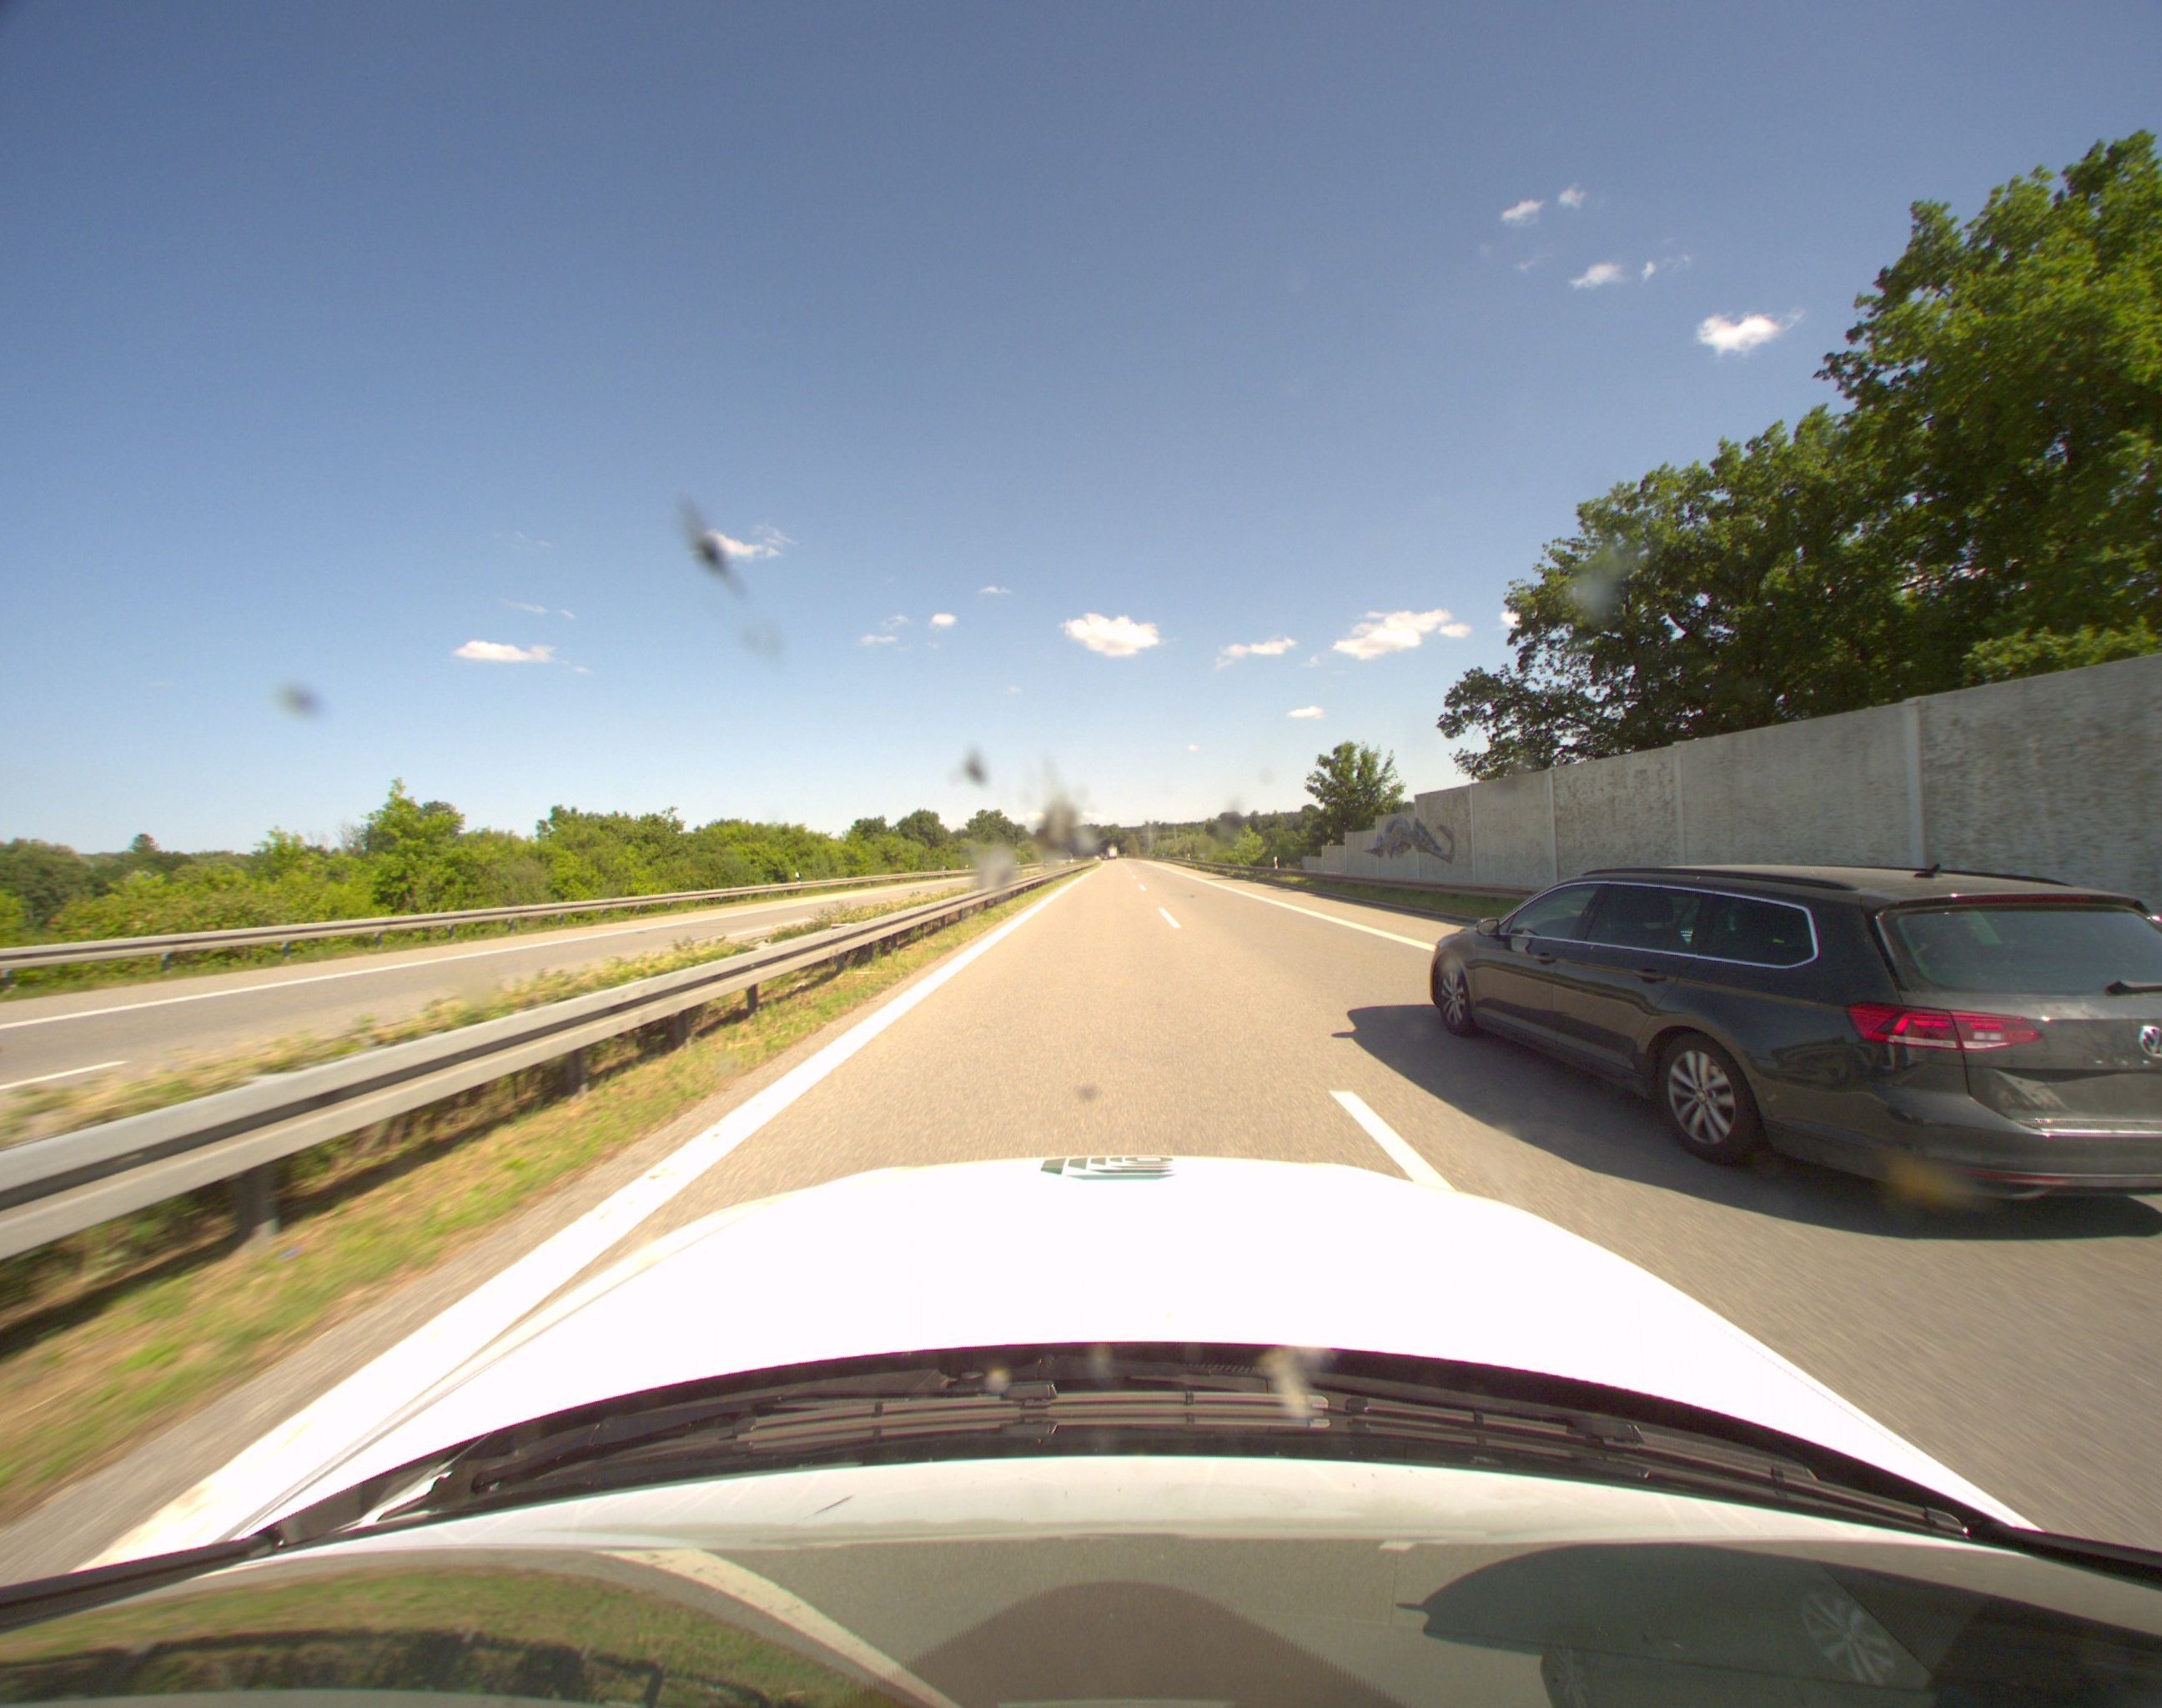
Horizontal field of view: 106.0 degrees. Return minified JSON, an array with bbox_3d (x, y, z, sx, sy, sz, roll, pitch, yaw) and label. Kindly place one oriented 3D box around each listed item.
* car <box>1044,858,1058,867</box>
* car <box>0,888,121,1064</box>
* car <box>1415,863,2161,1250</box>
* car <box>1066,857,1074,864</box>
[{"bbox_3d":[-5.195,1.517,141.568,1.731,1.445,4.772,-3,0,4],"label":"car"},{"bbox_3d":[-11.077,1.190,6.097,1.953,1.600,4.867,-2,0,0],"label":"car"},{"bbox_3d":[3.875,0.766,5.208,1.713,1.400,4.414,0,0,1],"label":"car"},{"bbox_3d":[-2.836,1.635,212.443,1.903,1.588,4.917,-4,0,0],"label":"car"}]
